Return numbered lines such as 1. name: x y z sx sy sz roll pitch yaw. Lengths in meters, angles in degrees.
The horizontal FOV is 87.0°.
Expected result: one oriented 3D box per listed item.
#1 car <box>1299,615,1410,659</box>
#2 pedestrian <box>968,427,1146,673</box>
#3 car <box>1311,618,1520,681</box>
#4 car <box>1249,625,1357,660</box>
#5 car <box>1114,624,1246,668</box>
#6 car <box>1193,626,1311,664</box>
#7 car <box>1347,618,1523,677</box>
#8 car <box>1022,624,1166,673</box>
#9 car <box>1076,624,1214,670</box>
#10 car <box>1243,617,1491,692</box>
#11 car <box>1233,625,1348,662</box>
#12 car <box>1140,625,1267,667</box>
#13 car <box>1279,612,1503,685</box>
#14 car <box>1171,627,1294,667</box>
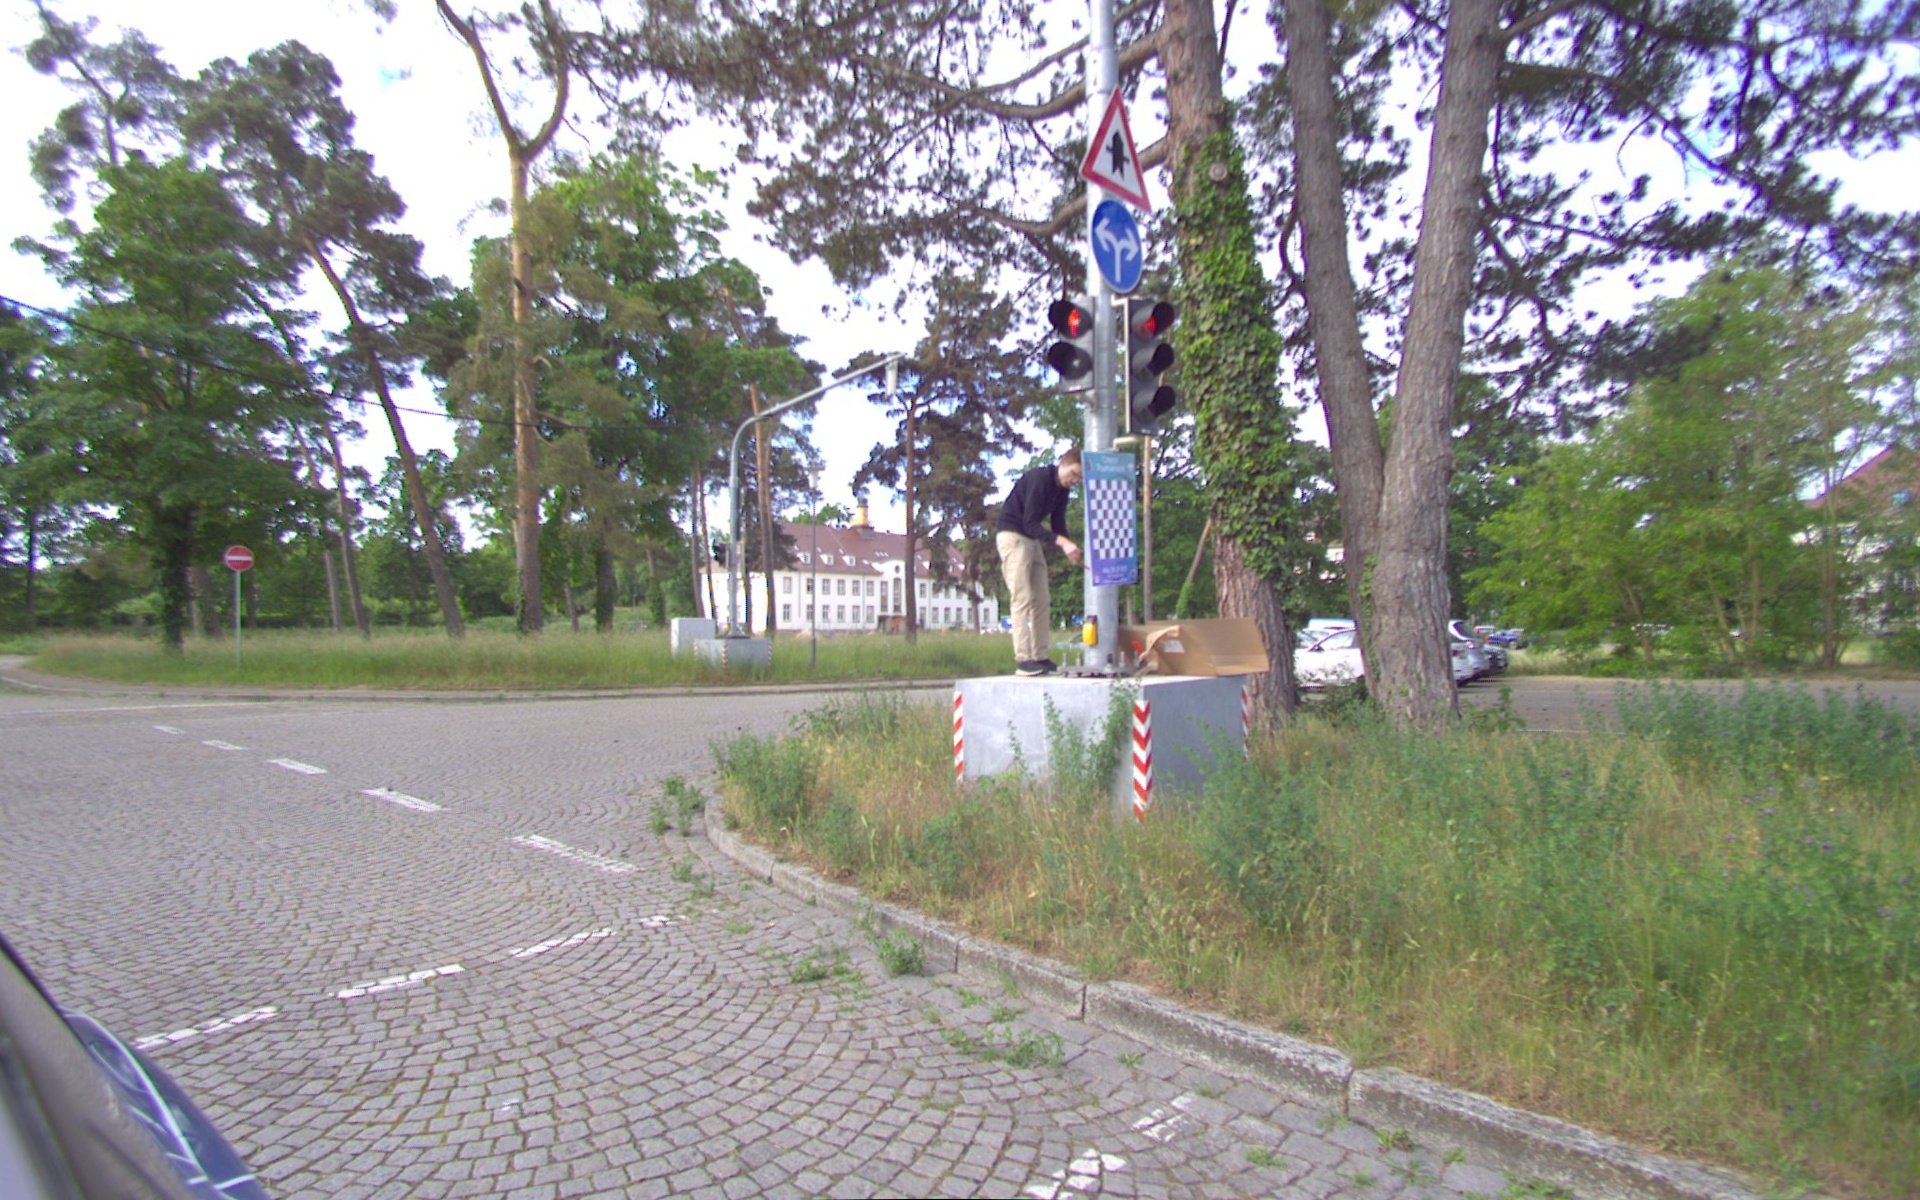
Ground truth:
1. car: 20.358 1.924 52.370 4.978 2.113 1.816 -4 -3 40
2. pedestrian: 0.650 -0.299 6.858 0.869 1.529 0.824 1 -2 -35
3. car: 11.749 1.297 26.281 4.583 1.480 1.815 -4 -3 42
4. car: 16.486 2.066 48.742 4.579 1.586 1.817 -4 -3 39
5. car: 8.350 1.771 38.668 4.579 1.533 1.817 -4 -3 39
6. car: 12.782 1.981 44.427 4.579 1.533 1.817 -4 -3 39
7. car: 13.316 1.358 28.514 4.112 1.533 1.714 -4 -3 42
8. car: 4.592 1.670 34.889 4.572 1.559 1.820 -3 -3 34
9. car: 6.647 1.724 36.661 4.579 1.533 1.817 -4 -3 39
10. car: 8.747 1.192 22.012 4.650 1.461 1.817 -4 -3 39
11. car: 15.000 2.001 46.083 4.579 1.571 1.817 -4 -3 39
12. car: 9.714 1.874 40.615 4.579 1.571 1.817 -4 -3 39
13. car: 10.203 1.186 24.159 4.579 1.590 1.817 -4 -3 39
14. car: 11.330 1.989 42.256 4.579 1.533 1.817 -4 -3 39
